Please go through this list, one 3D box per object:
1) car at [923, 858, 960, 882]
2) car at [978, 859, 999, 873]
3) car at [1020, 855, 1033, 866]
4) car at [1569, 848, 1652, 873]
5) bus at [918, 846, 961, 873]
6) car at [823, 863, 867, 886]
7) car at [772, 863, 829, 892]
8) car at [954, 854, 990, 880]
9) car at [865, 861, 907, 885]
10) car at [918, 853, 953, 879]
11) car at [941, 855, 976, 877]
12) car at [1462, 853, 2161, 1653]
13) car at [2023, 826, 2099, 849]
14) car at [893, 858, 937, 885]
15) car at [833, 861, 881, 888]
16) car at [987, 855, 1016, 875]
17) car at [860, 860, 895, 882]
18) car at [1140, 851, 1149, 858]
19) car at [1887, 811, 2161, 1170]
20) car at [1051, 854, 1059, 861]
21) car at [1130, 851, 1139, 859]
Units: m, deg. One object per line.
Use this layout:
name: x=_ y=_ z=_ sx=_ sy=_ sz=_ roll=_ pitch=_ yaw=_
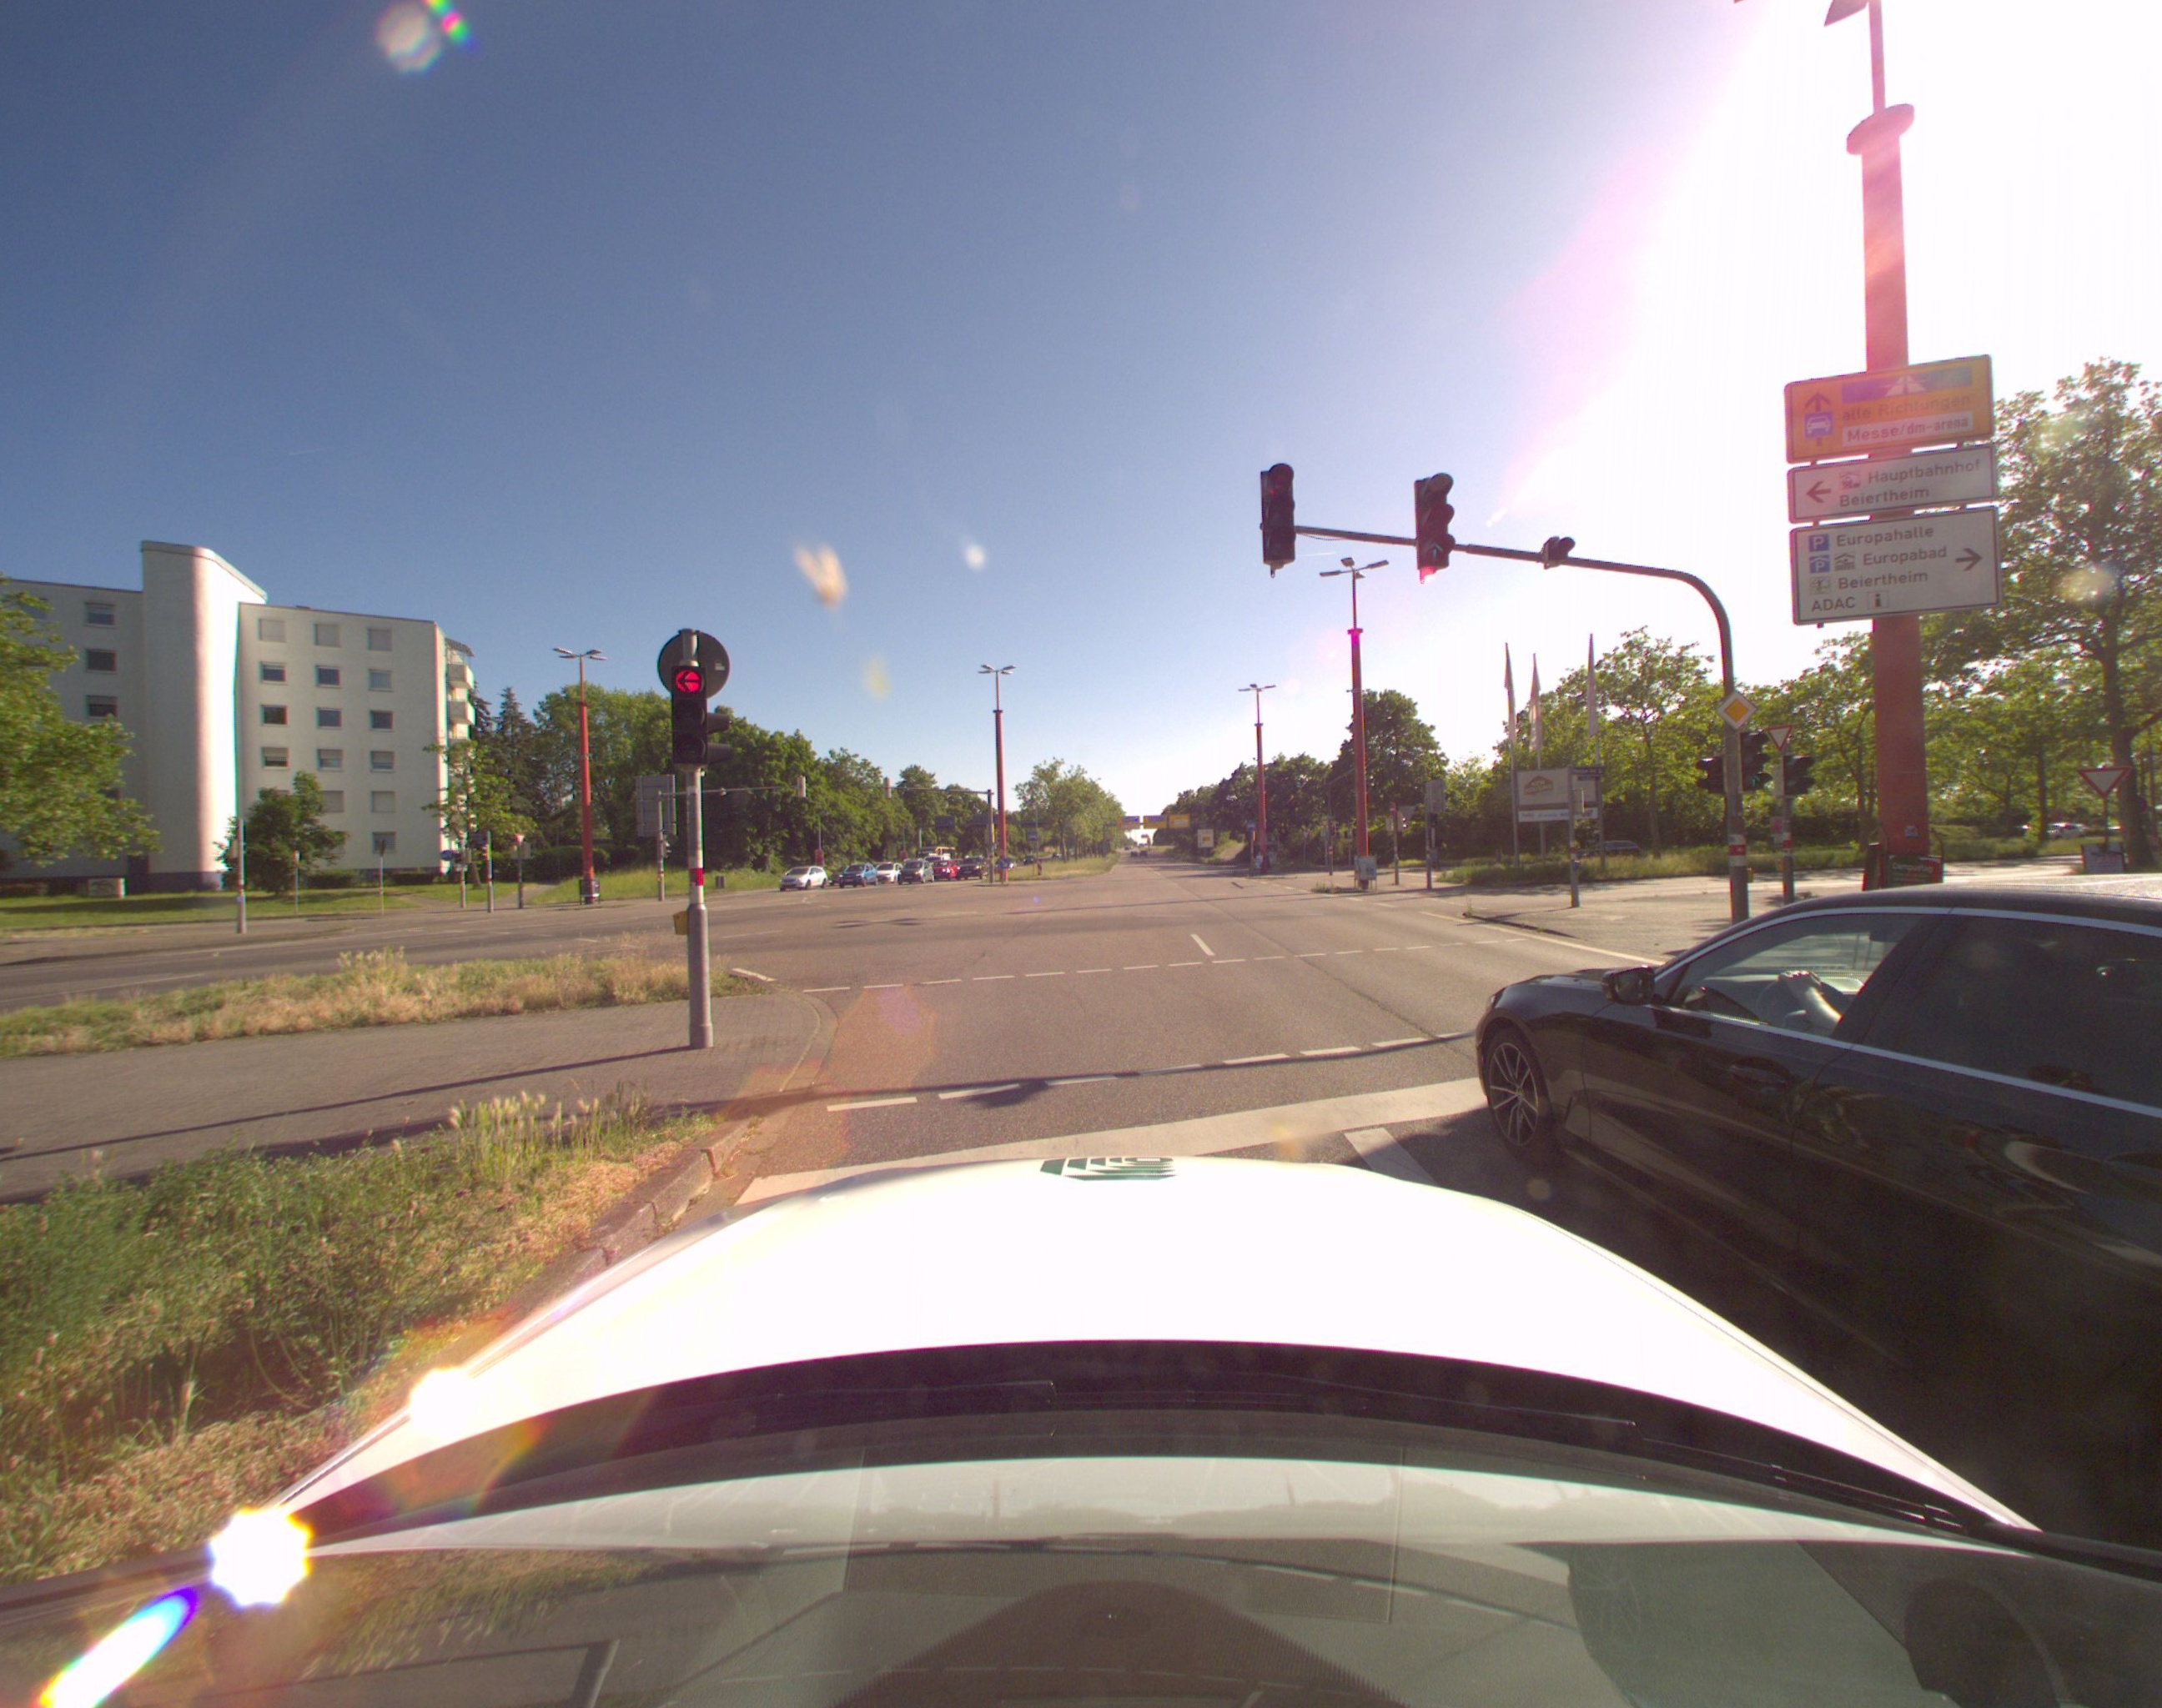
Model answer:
car: x=-10.058 y=1.128 z=59.023 sx=1.869 sy=1.552 sz=4.000 roll=-5 pitch=0 yaw=0
car: x=-11.303 y=1.416 z=99.630 sx=1.878 sy=1.543 sz=4.002 roll=-3 pitch=0 yaw=2
car: x=-9.422 y=1.121 z=140.885 sx=1.830 sy=1.837 sz=3.962 roll=-2 pitch=0 yaw=2
car: x=34.886 y=0.431 z=53.772 sx=4.253 sy=1.635 sz=1.776 roll=-1 pitch=-1 yaw=14
bus: x=-17.699 y=0.708 z=102.929 sx=2.635 sy=3.261 sz=12.545 roll=0 pitch=0 yaw=3
car: x=-17.548 y=1.507 z=60.678 sx=1.877 sy=1.513 sz=4.003 roll=-3 pitch=0 yaw=3
car: x=-17.635 y=1.428 z=51.416 sx=1.869 sy=1.652 sz=4.222 roll=-3 pitch=-1 yaw=3
car: x=-7.519 y=0.861 z=56.702 sx=1.787 sy=1.626 sz=4.144 roll=-3 pitch=0 yaw=1
car: x=-13.765 y=1.291 z=57.762 sx=1.895 sy=1.555 sz=4.000 roll=-3 pitch=0 yaw=0
car: x=-12.714 y=1.004 z=71.300 sx=1.954 sy=2.155 sz=5.083 roll=-2 pitch=0 yaw=1
car: x=-9.738 y=0.937 z=65.020 sx=1.893 sy=1.630 sz=4.003 roll=-1 pitch=0 yaw=3
car: x=2.881 y=0.720 z=2.379 sx=1.756 sy=1.441 sz=4.299 roll=0 pitch=0 yaw=4
car: x=76.474 y=-1.272 z=63.582 sx=4.281 sy=1.635 sz=1.765 roll=-2 pitch=0 yaw=-8
car: x=-10.687 y=1.083 z=52.696 sx=1.867 sy=1.550 sz=4.029 roll=-3 pitch=0 yaw=2
car: x=-14.128 y=1.290 z=51.615 sx=1.794 sy=1.515 sz=3.861 roll=-3 pitch=0 yaw=2
car: x=-6.695 y=0.905 z=69.040 sx=1.878 sy=1.543 sz=4.002 roll=-3 pitch=0 yaw=2
car: x=-16.791 y=1.388 z=67.364 sx=1.772 sy=1.652 sz=3.973 roll=-4 pitch=-1 yaw=0
car: x=15.540 y=0.053 z=200.511 sx=1.986 sy=1.733 sz=4.001 roll=0 pitch=-1 yaw=2
car: x=5.668 y=0.601 z=2.980 sx=1.709 sy=1.608 sz=3.849 roll=0 pitch=-1 yaw=2
car: x=-7.138 y=0.959 z=222.400 sx=1.913 sy=1.999 sz=4.605 roll=-2 pitch=0 yaw=1
car: x=12.475 y=0.200 z=191.073 sx=1.986 sy=1.733 sz=4.001 roll=0 pitch=-1 yaw=2
